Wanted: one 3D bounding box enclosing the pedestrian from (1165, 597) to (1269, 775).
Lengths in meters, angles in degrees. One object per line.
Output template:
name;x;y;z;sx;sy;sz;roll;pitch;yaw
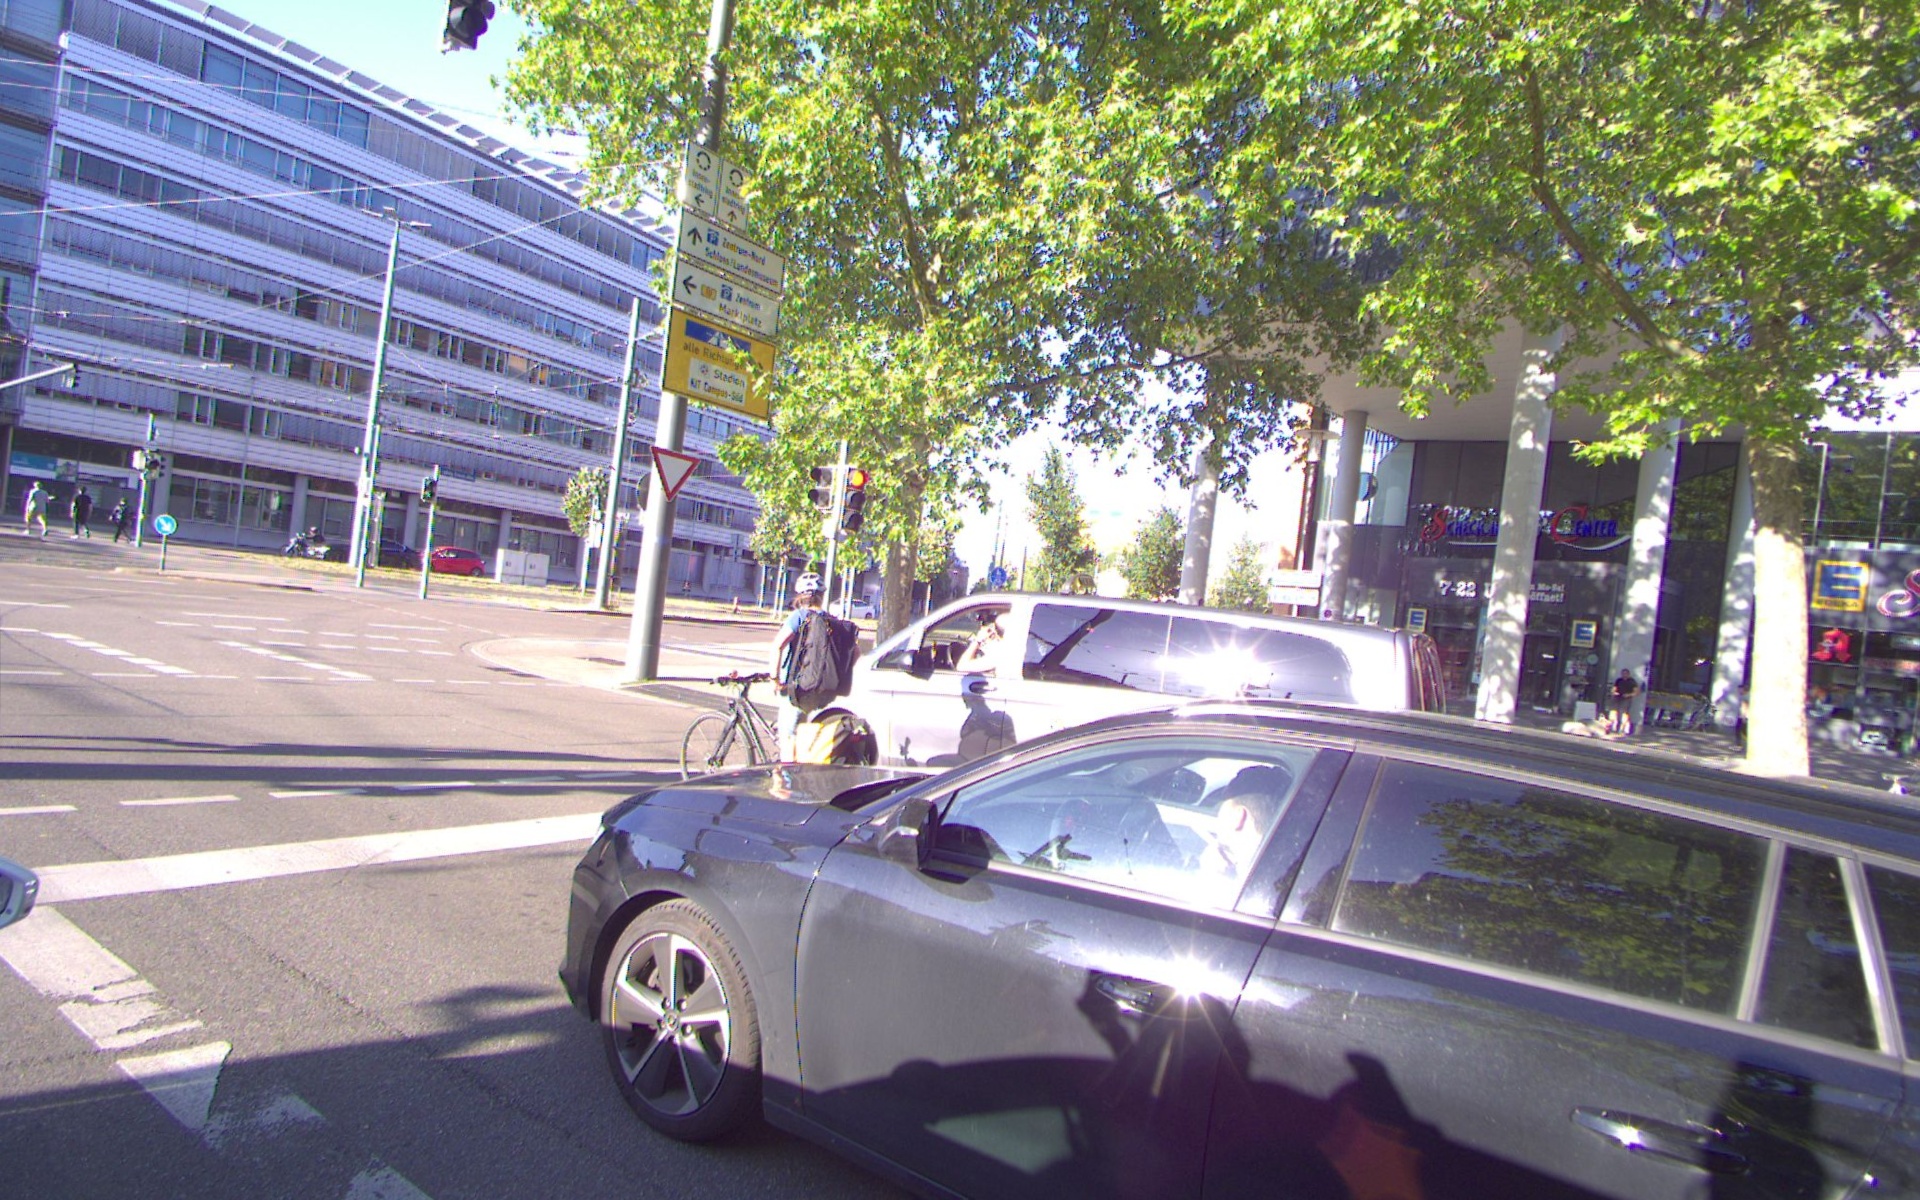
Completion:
pedestrian;2.925;0.959;11.439;0.800;1.868;0.642;7;1;30

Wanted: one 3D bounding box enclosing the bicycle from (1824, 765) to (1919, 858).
bicycle;11.496;2.607;12.355;0.460;0.938;1.210;6;0;-39

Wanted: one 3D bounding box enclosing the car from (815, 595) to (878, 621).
car;-8.055;0.602;71.829;1.758;1.353;4.605;7;0;37

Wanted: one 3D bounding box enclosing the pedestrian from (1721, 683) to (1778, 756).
pedestrian;20.183;3.040;25.736;0.704;1.728;0.806;7;1;15

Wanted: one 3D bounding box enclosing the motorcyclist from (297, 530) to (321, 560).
motorcyclist;-30.069;-2.551;46.467;0.452;1.291;0.712;7;1;36

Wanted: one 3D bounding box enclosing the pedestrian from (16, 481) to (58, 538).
pedestrian;-31.837;-3.123;34.715;0.859;1.811;0.862;6;1;-37

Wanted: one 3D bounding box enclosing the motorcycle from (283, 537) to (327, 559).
motorcycle;-30.176;-2.397;46.343;0.460;0.820;1.568;7;0;36

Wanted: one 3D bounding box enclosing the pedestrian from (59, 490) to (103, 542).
pedestrian;-31.638;-3.038;36.200;1.020;1.706;0.912;7;1;39

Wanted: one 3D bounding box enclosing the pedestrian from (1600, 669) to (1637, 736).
pedestrian;17.518;2.735;26.756;0.598;1.707;0.511;6;1;-41

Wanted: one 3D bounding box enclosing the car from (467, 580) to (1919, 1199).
car;0.783;0.940;2.753;4.199;1.431;1.742;7;-2;32

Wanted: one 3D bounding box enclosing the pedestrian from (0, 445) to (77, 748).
pedestrian;-6.042;-0.068;5.772;0.729;1.769;1.093;7;0;20

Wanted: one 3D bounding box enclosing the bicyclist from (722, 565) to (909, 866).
bicyclist;-0.911;0.691;6.359;0.766;1.714;0.632;7;1;32

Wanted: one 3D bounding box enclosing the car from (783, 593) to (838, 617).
car;-11.648;0.367;78.740;1.758;1.415;4.157;7;0;37

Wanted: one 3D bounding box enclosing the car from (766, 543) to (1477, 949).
car;1.103;0.842;7.944;5.012;2.004;1.939;7;0;31

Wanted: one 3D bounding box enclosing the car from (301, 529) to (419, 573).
car;-27.245;-2.192;45.780;1.758;1.415;4.157;7;0;37

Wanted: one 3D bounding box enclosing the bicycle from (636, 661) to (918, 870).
bicycle;-1.241;1.022;6.631;1.839;0.993;0.561;7;1;32

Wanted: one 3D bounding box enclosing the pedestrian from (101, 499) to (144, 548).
pedestrian;-30.279;-2.758;36.374;0.883;1.583;0.947;7;1;39

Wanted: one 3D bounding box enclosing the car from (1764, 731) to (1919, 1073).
car;6.554;1.731;4.579;4.181;1.503;1.741;7;0;31

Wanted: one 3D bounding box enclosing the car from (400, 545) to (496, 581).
car;-26.343;-1.877;51.879;1.758;1.411;3.984;7;1;37

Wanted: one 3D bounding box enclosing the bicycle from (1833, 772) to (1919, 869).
bicycle;10.539;2.479;11.097;1.233;0.898;0.462;7;1;32

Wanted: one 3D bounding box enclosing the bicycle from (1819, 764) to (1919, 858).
bicycle;11.198;2.545;12.083;0.437;0.930;1.210;6;0;-39
